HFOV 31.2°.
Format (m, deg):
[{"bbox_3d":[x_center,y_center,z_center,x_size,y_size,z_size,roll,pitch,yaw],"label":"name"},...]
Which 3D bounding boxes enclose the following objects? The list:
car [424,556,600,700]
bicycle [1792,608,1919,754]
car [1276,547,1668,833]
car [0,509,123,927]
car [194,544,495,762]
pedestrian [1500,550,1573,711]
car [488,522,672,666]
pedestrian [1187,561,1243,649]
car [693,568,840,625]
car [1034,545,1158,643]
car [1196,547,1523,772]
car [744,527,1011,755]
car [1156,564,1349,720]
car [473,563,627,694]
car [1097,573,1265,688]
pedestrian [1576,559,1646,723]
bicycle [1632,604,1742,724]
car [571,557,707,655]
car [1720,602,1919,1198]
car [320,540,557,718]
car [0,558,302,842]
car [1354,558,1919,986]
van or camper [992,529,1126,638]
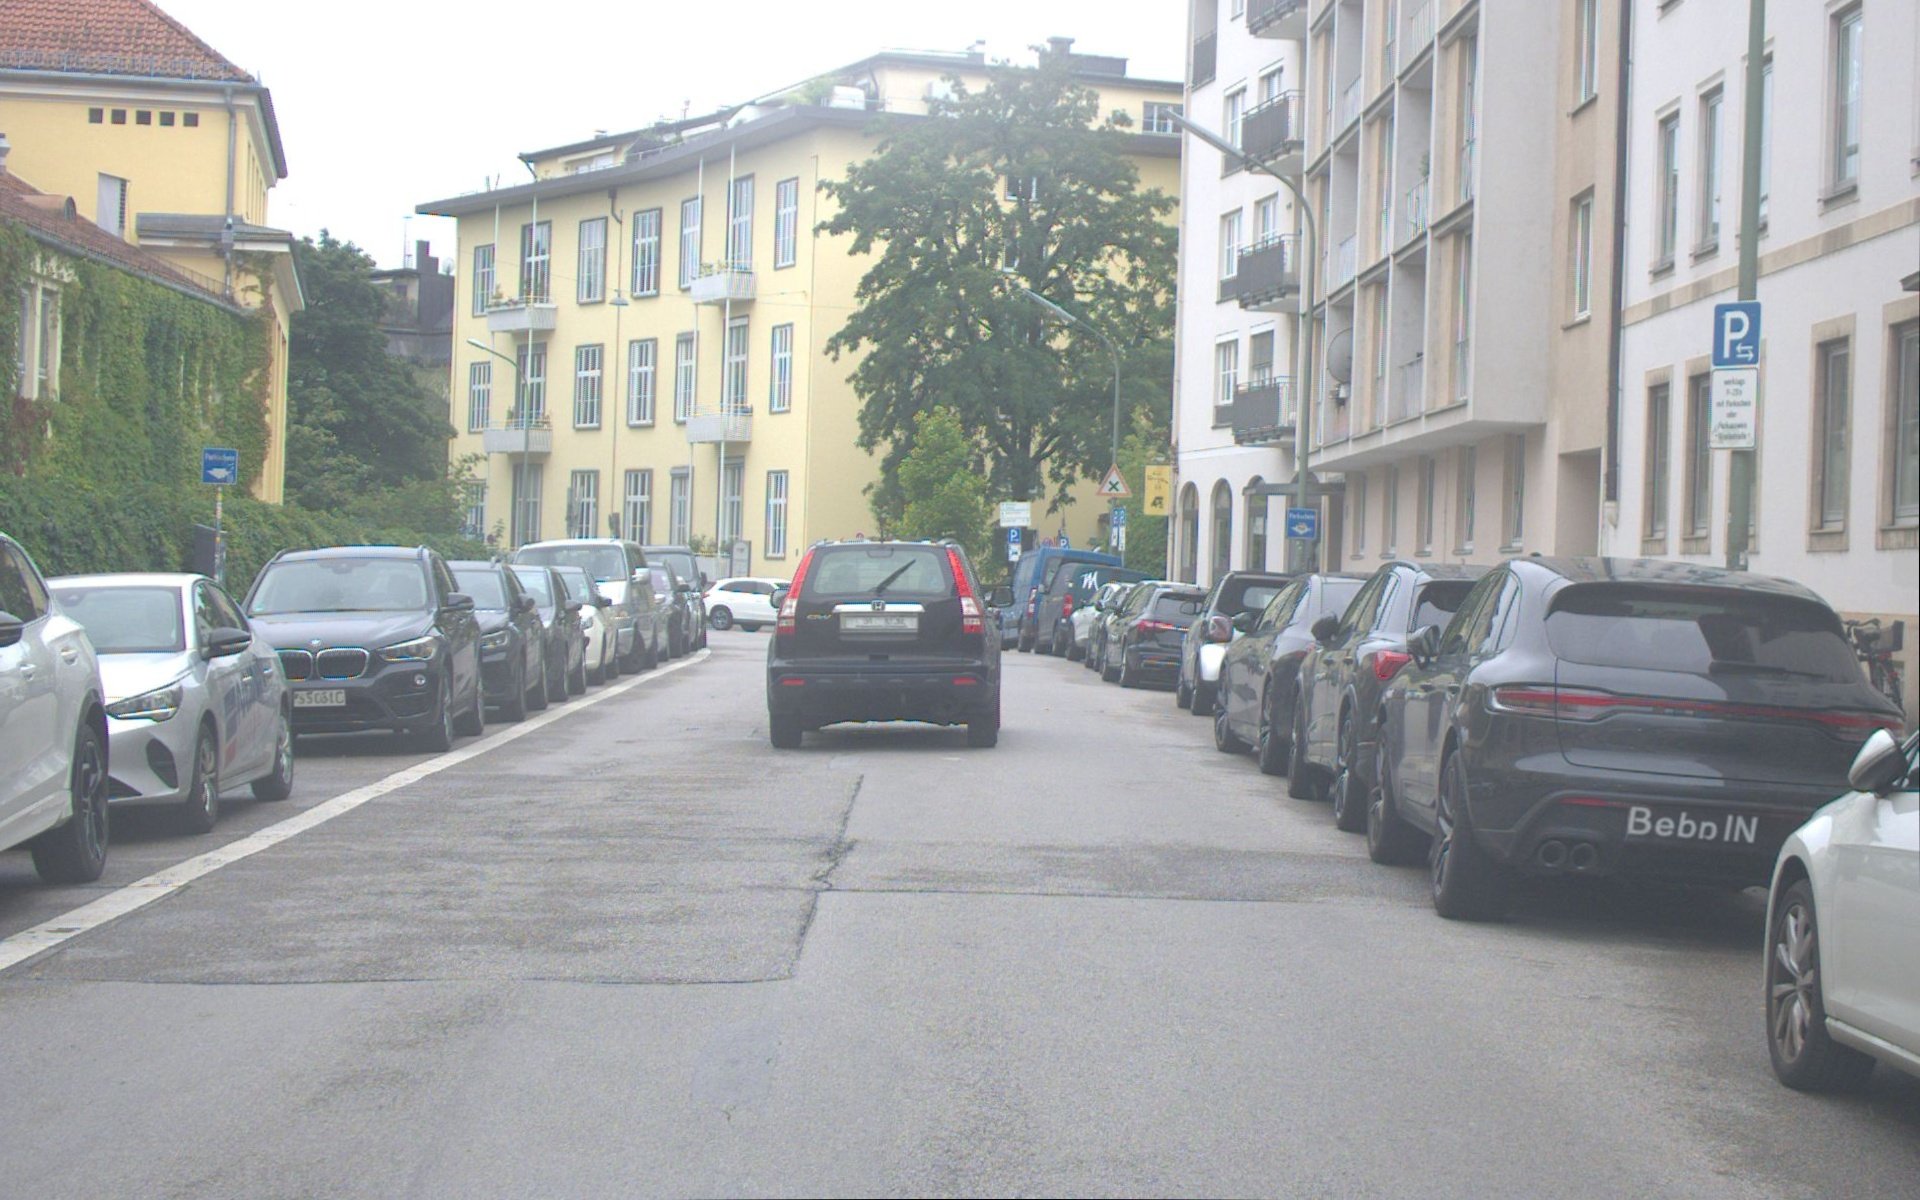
[{"bbox_3d":[-4.893,0.266,37.948,1.578,1.450,3.905,2,1,-3],"label":"car"},{"bbox_3d":[7.419,0.641,28.192,0.659,1.122,2.028,1,1,-1],"label":"bicycle"},{"bbox_3d":[3.043,0.467,21.251,1.778,1.579,4.272,0,1,0],"label":"car"},{"bbox_3d":[-4.616,0.464,13.800,1.679,1.628,4.358,-1,1,-4],"label":"car"},{"bbox_3d":[-4.788,0.356,27.274,1.781,1.532,4.196,2,1,-3],"label":"car"},{"bbox_3d":[6.007,0.310,35.847,0.596,1.648,0.630,2,1,-1],"label":"pedestrian"},{"bbox_3d":[-5.272,-0.121,48.283,1.993,1.869,4.758,2,1,0],"label":"car"},{"bbox_3d":[4.977,0.093,67.173,0.898,1.682,1.320,1,0,-2],"label":"pedestrian"},{"bbox_3d":[-5.948,-0.113,105.524,3.993,1.612,1.997,2,1,26],"label":"car"},{"bbox_3d":[2.663,-0.155,68.520,1.964,1.810,4.936,1,1,-3],"label":"car"},{"bbox_3d":[2.980,0.382,26.611,1.856,1.539,4.816,1,1,-1],"label":"car"},{"bbox_3d":[-0.623,0.276,28.451,1.995,1.688,4.380,2,1,0],"label":"car"},{"bbox_3d":[3.094,0.405,37.006,1.671,1.529,3.881,2,1,0],"label":"car"},{"bbox_3d":[-5.086,0.324,42.985,1.578,1.487,3.730,3,1,-3],"label":"car"},{"bbox_3d":[2.976,0.385,47.104,1.796,1.416,4.483,2,1,-2],"label":"car"},{"bbox_3d":[6.354,0.394,33.578,0.531,1.579,0.560,2,1,-1],"label":"pedestrian"},{"bbox_3d":[7.405,0.636,35.100,0.659,1.159,2.028,1,1,-1],"label":"bicycle"},{"bbox_3d":[-5.017,0.065,54.198,1.701,1.418,4.425,2,1,0],"label":"car"},{"bbox_3d":[3.277,0.816,8.726,1.692,1.459,4.083,4,1,0],"label":"car"},{"bbox_3d":[-4.926,0.229,32.948,1.781,1.532,4.149,2,1,-3],"label":"car"},{"bbox_3d":[-4.835,0.486,19.348,1.679,1.421,3.895,-1,1,-3],"label":"car"},{"bbox_3d":[2.954,0.655,15.783,1.778,1.579,4.330,4,1,1],"label":"car"},{"bbox_3d":[2.095,-0.394,74.177,2.060,2.223,5.439,2,1,-7],"label":"van or camper"}]
